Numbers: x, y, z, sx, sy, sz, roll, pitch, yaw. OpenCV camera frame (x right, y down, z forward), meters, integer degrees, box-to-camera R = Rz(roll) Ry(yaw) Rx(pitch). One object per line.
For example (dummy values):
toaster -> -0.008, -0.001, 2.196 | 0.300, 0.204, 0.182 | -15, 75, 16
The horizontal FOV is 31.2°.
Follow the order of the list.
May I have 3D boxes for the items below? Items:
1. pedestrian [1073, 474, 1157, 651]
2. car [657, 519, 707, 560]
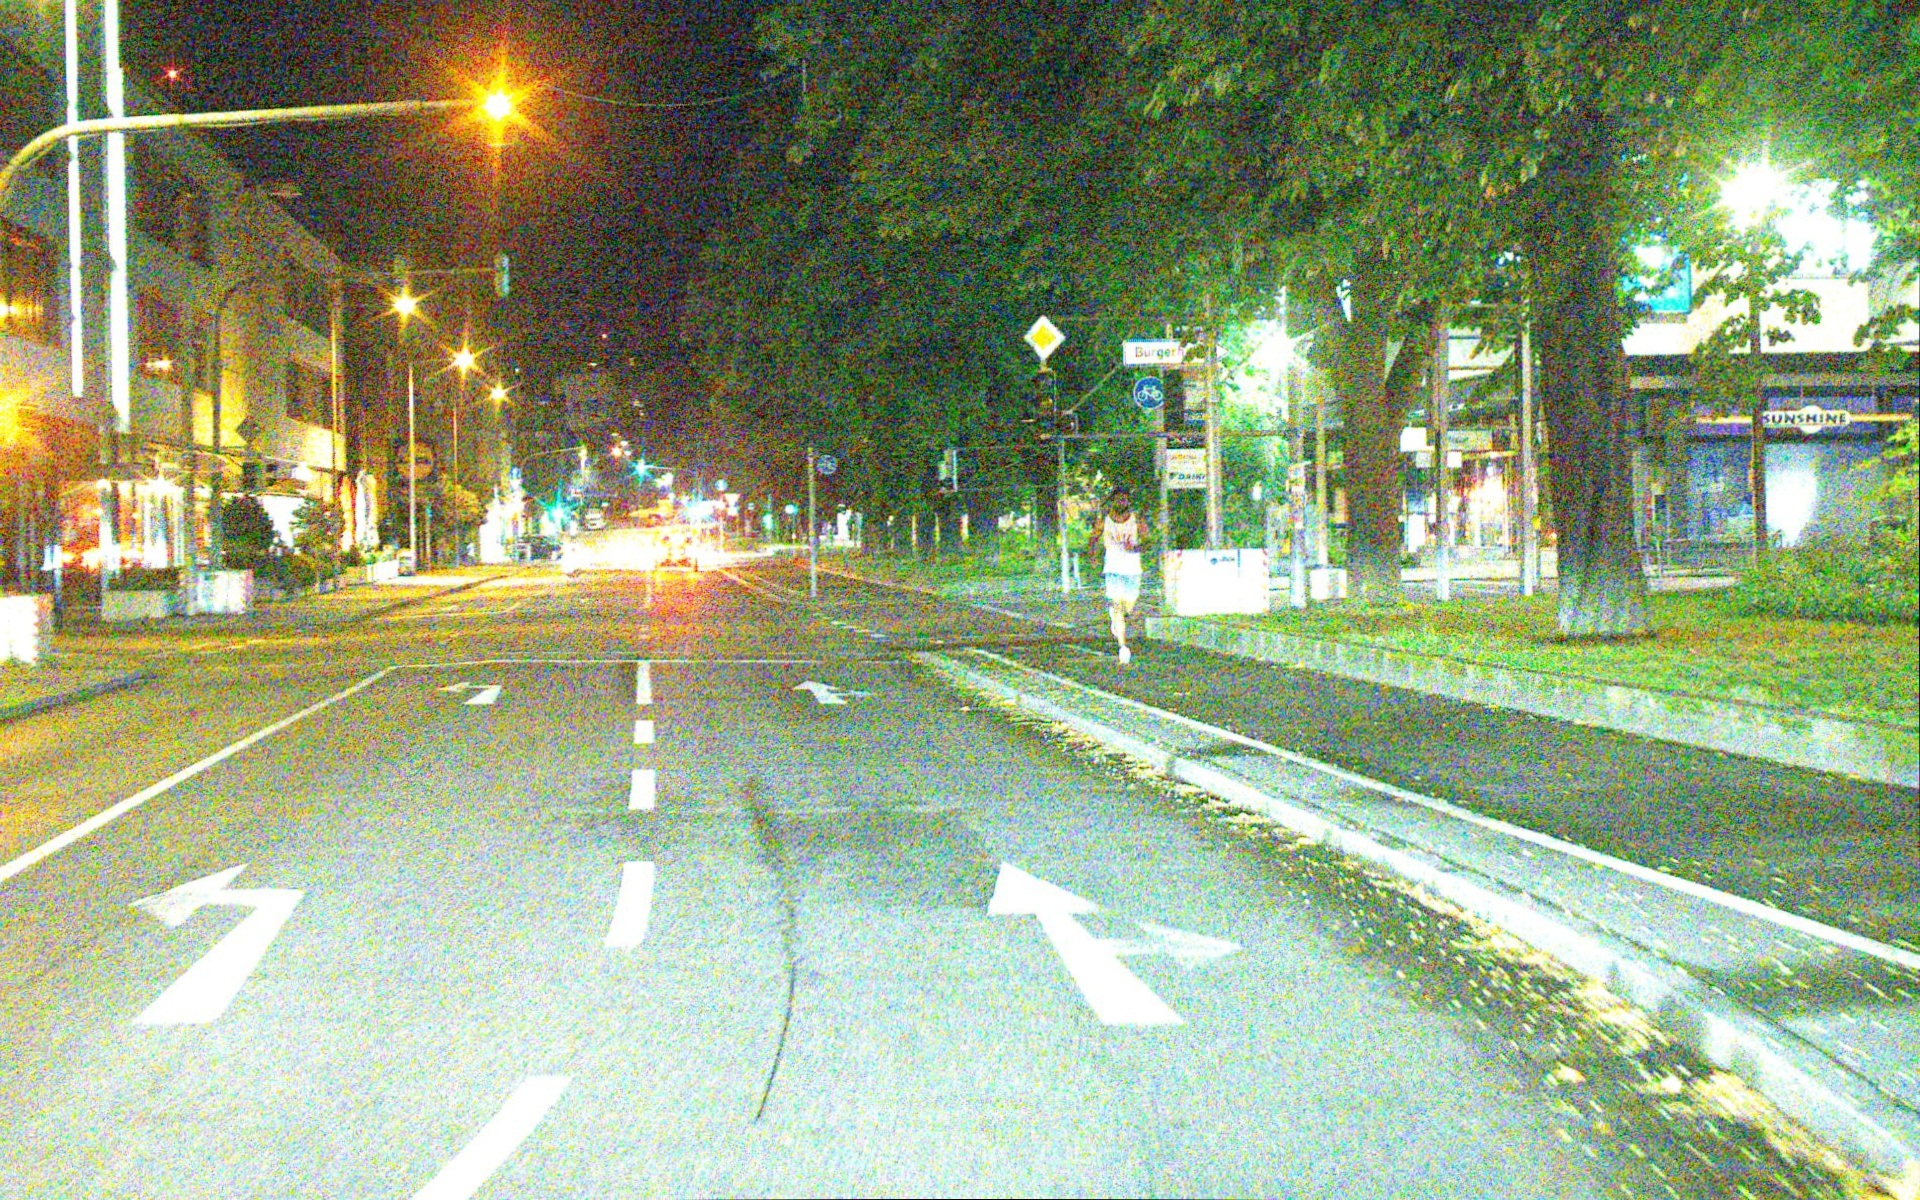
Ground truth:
pedestrian -> 1.616, -0.402, 36.067 | 0.703, 1.812, 1.082 | -2, 1, -4
car -> -11.765, -2.567, 145.121 | 1.993, 1.637, 4.001 | -2, 2, -5
